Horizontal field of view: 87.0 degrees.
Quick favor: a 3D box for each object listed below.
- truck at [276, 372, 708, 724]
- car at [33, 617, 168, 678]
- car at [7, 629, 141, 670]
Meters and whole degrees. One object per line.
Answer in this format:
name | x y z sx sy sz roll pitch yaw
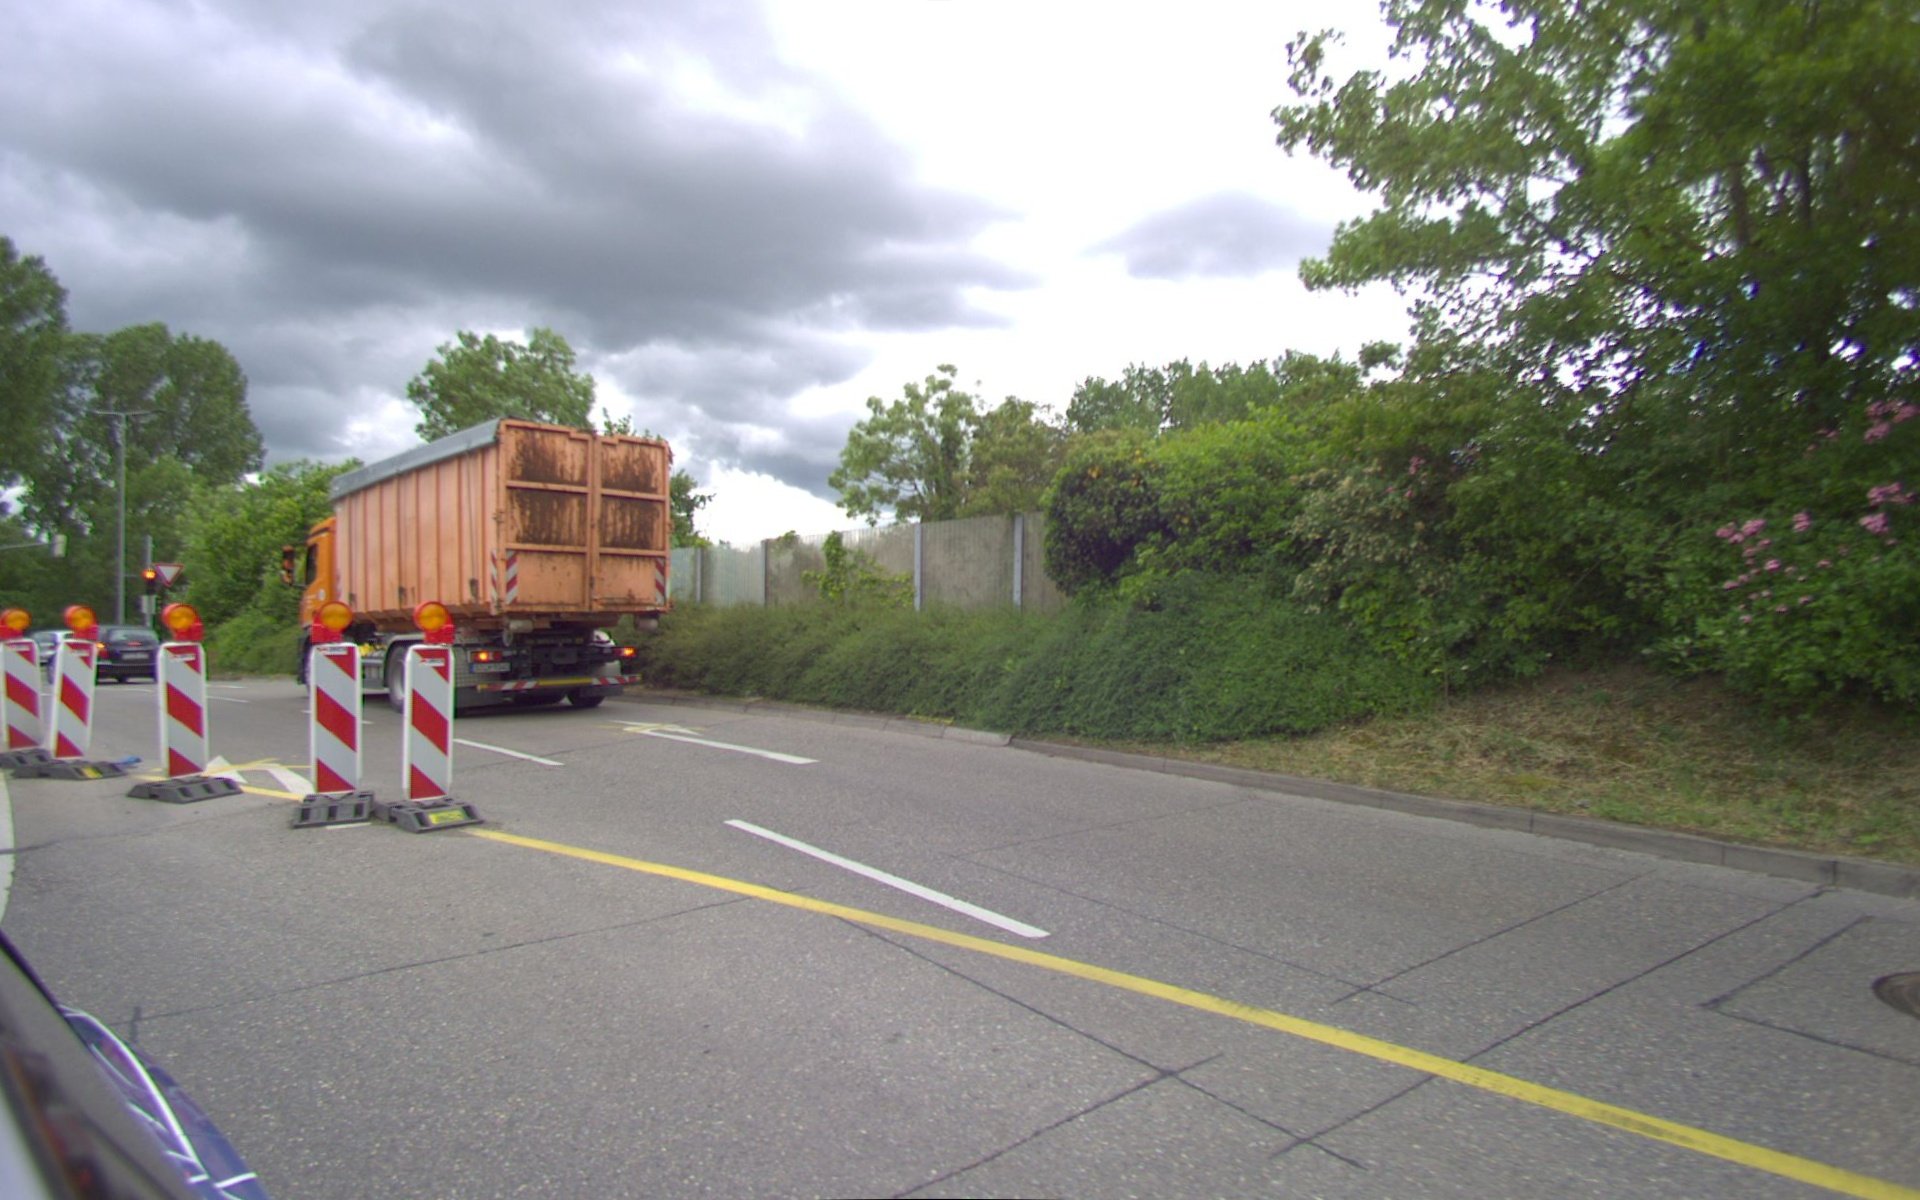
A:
truck | -8.205 -0.499 16.717 9.794 4.253 3.076 -2 -2 43
car | -23.259 1.322 27.356 3.775 1.564 1.626 -3 -5 31
car | -33.843 1.872 38.783 1.656 1.481 3.616 -1 -2 11
